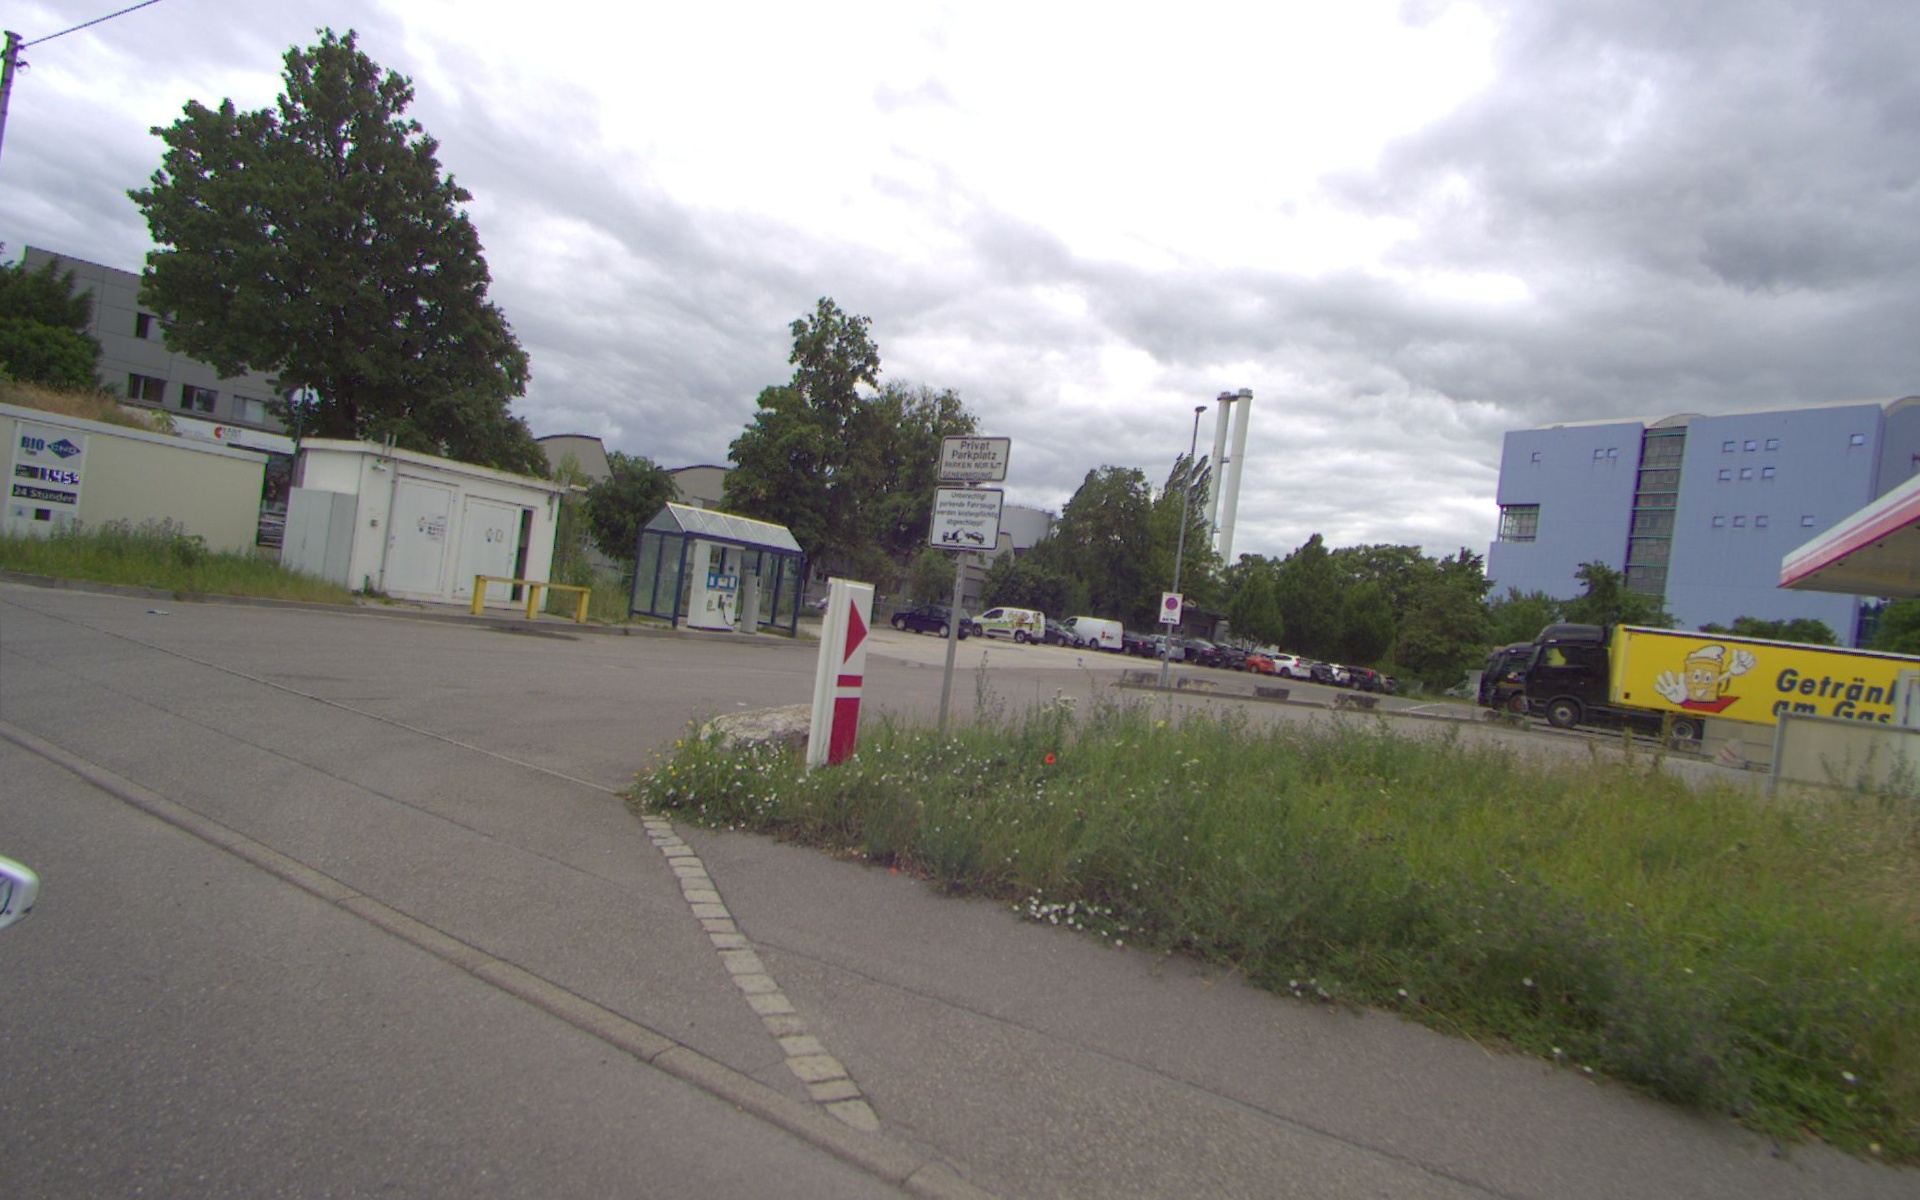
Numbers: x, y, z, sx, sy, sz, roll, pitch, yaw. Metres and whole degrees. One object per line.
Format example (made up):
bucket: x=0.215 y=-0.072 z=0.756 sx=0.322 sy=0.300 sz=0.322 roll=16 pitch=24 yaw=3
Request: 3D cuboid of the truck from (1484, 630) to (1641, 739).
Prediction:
truck: x=29.207 y=4.055 z=49.037 sx=5.939 sy=4.315 sz=3.048 roll=7 pitch=0 yaw=30

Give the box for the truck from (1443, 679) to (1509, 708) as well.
truck: x=50.191 y=9.094 z=97.994 sx=1.983 sy=1.952 sz=5.239 roll=7 pitch=0 yaw=-36

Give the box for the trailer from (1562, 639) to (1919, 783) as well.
trailer: x=36.144 y=4.942 z=44.904 sx=15.460 sy=4.313 sz=3.025 roll=7 pitch=0 yaw=31

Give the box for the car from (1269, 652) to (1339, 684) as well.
car: x=24.319 y=4.809 z=71.254 sx=1.844 sy=1.671 sz=4.264 roll=7 pitch=0 yaw=-37

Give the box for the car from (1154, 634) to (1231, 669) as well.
car: x=15.084 y=3.328 z=65.492 sx=1.988 sy=1.671 sz=4.556 roll=7 pitch=0 yaw=-37

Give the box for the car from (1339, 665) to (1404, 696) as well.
car: x=31.005 y=6.054 z=75.899 sx=1.809 sy=1.671 sz=3.990 roll=7 pitch=0 yaw=-37

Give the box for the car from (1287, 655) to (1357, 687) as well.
car: x=26.252 y=5.132 z=73.127 sx=1.935 sy=1.671 sz=4.287 roll=7 pitch=0 yaw=-37

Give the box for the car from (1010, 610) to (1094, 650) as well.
car: x=5.416 y=1.772 z=59.821 sx=2.086 sy=1.758 sz=4.829 roll=7 pitch=0 yaw=-39

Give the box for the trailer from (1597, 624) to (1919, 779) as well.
trailer: x=30.333 y=3.704 z=34.285 sx=14.061 sy=3.963 sz=3.004 roll=7 pitch=0 yaw=31

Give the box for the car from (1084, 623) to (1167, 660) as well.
car: x=10.283 y=2.574 z=62.818 sx=2.084 sy=1.671 sz=4.915 roll=7 pitch=0 yaw=-37

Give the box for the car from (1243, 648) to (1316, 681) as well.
car: x=22.052 y=4.431 z=69.523 sx=1.885 sy=1.671 sz=4.362 roll=7 pitch=0 yaw=-37

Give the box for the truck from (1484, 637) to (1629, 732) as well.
truck: x=31.024 y=4.338 z=52.566 sx=5.939 sy=3.963 sz=2.694 roll=7 pitch=0 yaw=31

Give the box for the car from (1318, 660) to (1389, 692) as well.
car: x=28.868 y=5.559 z=73.932 sx=1.969 sy=1.671 sz=4.298 roll=7 pitch=0 yaw=-37

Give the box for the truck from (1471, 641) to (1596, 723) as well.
truck: x=34.124 y=4.838 z=60.000 sx=5.939 sy=3.963 sz=2.694 roll=7 pitch=0 yaw=31

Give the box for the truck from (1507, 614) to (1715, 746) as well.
truck: x=24.267 y=2.931 z=37.898 sx=5.939 sy=3.963 sz=2.961 roll=7 pitch=0 yaw=30

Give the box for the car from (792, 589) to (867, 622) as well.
car: x=-8.217 y=0.375 z=63.605 sx=1.970 sy=1.539 sz=4.425 roll=8 pitch=0 yaw=38

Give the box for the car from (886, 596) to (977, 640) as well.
car: x=-1.343 y=0.837 z=47.406 sx=3.820 sy=1.549 sz=1.734 roll=7 pitch=0 yaw=32

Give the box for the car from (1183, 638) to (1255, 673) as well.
car: x=17.192 y=3.671 z=66.925 sx=1.947 sy=1.671 sz=4.284 roll=7 pitch=0 yaw=-37

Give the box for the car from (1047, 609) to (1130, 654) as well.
car: x=7.812 y=1.910 z=61.528 sx=2.084 sy=2.129 sz=4.853 roll=7 pitch=0 yaw=-37

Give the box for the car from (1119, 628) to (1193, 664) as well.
car: x=12.517 y=2.932 z=64.409 sx=1.892 sy=1.671 sz=4.353 roll=7 pitch=0 yaw=-37

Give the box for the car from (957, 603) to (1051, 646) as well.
car: x=2.399 y=1.333 z=54.847 sx=4.575 sy=1.665 sz=1.965 roll=7 pitch=0 yaw=31

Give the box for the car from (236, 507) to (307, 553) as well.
car: x=-31.498 y=-3.225 z=45.955 sx=1.987 sy=1.632 sz=4.387 roll=7 pitch=1 yaw=-43

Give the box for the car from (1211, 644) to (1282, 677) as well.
car: x=19.552 y=4.096 z=68.804 sx=1.878 sy=1.613 sz=4.323 roll=7 pitch=0 yaw=-37
